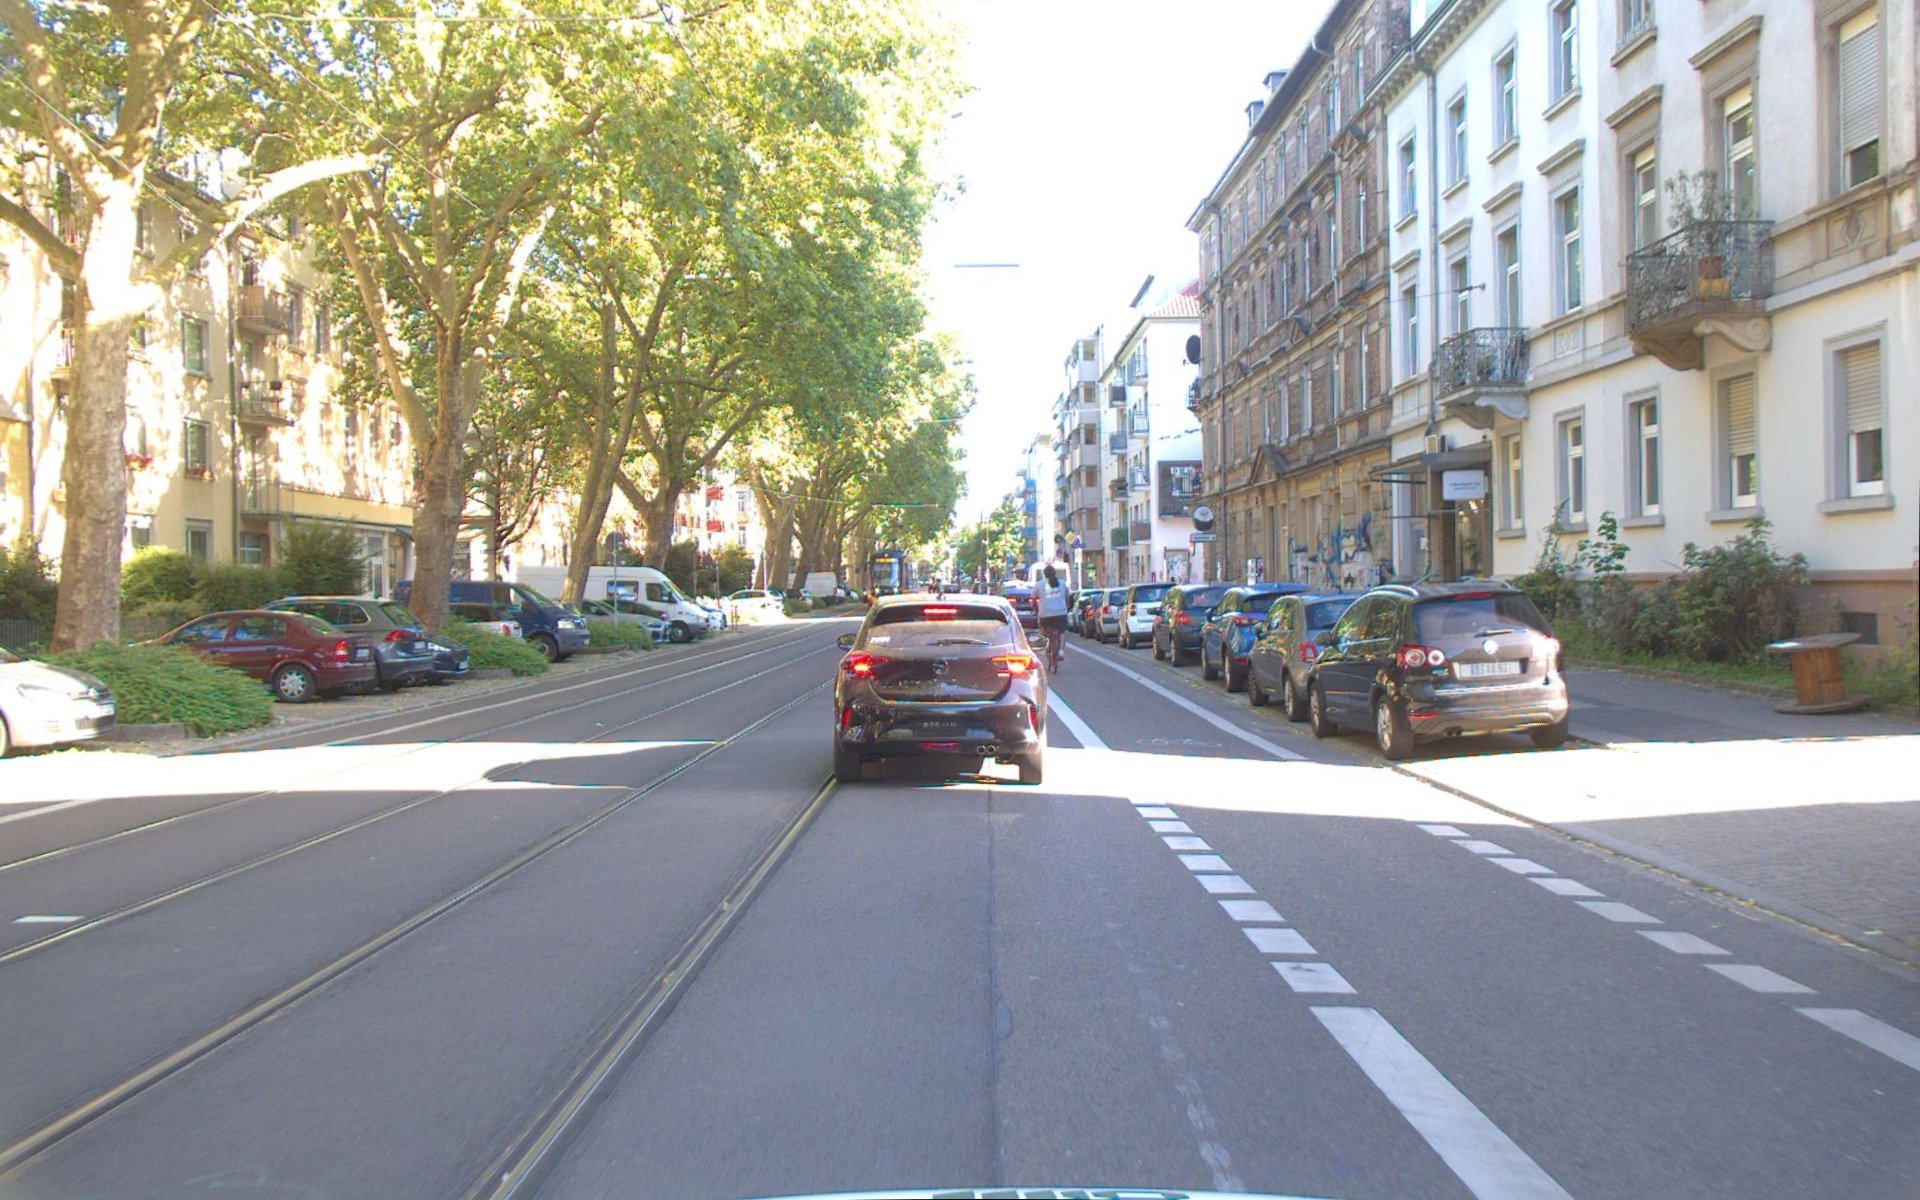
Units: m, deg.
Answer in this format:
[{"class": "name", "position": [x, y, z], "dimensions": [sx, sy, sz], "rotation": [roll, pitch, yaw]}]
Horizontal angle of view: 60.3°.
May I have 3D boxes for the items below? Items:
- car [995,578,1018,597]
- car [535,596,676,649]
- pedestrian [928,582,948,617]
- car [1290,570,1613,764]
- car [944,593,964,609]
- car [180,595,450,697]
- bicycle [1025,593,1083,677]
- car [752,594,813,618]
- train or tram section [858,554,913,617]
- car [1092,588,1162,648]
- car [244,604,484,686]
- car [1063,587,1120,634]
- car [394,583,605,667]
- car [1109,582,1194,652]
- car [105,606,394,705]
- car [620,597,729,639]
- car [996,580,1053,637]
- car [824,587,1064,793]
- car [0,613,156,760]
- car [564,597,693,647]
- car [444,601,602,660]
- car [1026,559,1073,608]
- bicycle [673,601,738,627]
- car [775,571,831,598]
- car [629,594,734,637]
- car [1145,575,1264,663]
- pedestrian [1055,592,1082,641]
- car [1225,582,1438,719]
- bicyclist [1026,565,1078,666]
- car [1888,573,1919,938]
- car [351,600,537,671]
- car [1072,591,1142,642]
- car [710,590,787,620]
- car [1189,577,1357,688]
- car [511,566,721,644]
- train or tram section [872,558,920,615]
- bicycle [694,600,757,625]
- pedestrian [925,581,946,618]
[{"class": "car", "position": [3.752, -1.024, 134.084], "dimensions": [1.773, 1.361, 3.933], "rotation": [-4, 0, 1]}, {"class": "car", "position": [-10.676, 0.662, 49.931], "dimensions": [3.839, 1.524, 1.677], "rotation": [1, 0, 1]}, {"class": "pedestrian", "position": [-0.987, -0.026, 74.351], "dimensions": [0.665, 1.594, 0.768], "rotation": [0, 0, 24]}, {"class": "car", "position": [4.822, 0.601, 16.857], "dimensions": [1.843, 1.613, 3.930], "rotation": [-4, 0, -3]}, {"class": "car", "position": [-0.555, 0.085, 146.489], "dimensions": [1.773, 1.361, 3.932], "rotation": [-1, 0, -1]}, {"class": "car", "position": [-11.114, 0.765, 28.687], "dimensions": [3.913, 1.655, 1.879], "rotation": [1, 0, -1]}, {"class": "bicycle", "position": [1.651, 0.597, 29.461], "dimensions": [0.843, 1.431, 2.523], "rotation": [0, 0, -1]}, {"class": "car", "position": [-11.548, 0.387, 107.695], "dimensions": [3.842, 1.524, 1.676], "rotation": [1, 0, -3]}, {"class": "train or tram section", "position": [-4.684, -0.888, 105.914], "dimensions": [2.678, 3.746, 12.717], "rotation": [-1, 0, 1]}, {"class": "car", "position": [4.597, 0.465, 45.967], "dimensions": [1.669, 1.481, 3.699], "rotation": [-4, 0, 3]}, {"class": "car", "position": [-11.132, 0.830, 31.092], "dimensions": [3.841, 1.446, 1.818], "rotation": [1, 0, -2]}, {"class": "car", "position": [4.503, 0.331, 57.021], "dimensions": [1.628, 1.444, 3.933], "rotation": [-4, 0, 1]}, {"class": "car", "position": [-11.216, 0.594, 40.514], "dimensions": [4.579, 1.957, 1.980], "rotation": [1, 0, 1]}, {"class": "car", "position": [4.695, 0.401, 40.914], "dimensions": [1.536, 1.543, 3.039], "rotation": [-4, 0, -2]}, {"class": "car", "position": [-11.310, 0.868, 26.492], "dimensions": [3.839, 1.467, 1.749], "rotation": [1, 0, 0]}, {"class": "car", "position": [-10.708, 0.659, 62.250], "dimensions": [3.842, 1.524, 1.676], "rotation": [1, 0, -3]}, {"class": "car", "position": [2.105, 0.269, 54.548], "dimensions": [1.772, 1.772, 3.933], "rotation": [-1, 0, 1]}, {"class": "car", "position": [-0.128, 0.647, 13.933], "dimensions": [1.757, 1.466, 3.531], "rotation": [0, 1, -1]}, {"class": "car", "position": [-11.071, 0.918, 17.889], "dimensions": [3.839, 1.488, 1.805], "rotation": [-1, 0, 0]}, {"class": "car", "position": [-10.634, 0.694, 53.239], "dimensions": [3.841, 1.524, 1.676], "rotation": [1, 0, -2]}, {"class": "car", "position": [-11.387, 0.773, 43.219], "dimensions": [3.658, 1.455, 1.637], "rotation": [1, 0, -1]}, {"class": "car", "position": [4.478, -0.828, 83.561], "dimensions": [2.033, 2.257, 4.934], "rotation": [-4, 0, 1]}, {"class": "bicycle", "position": [-11.985, 0.669, 77.973], "dimensions": [2.880, 1.190, 0.991], "rotation": [0, 0, 16]}, {"class": "car", "position": [-11.105, -1.106, 117.035], "dimensions": [3.842, 1.821, 1.676], "rotation": [1, 0, -3]}, {"class": "car", "position": [-10.880, 0.583, 64.737], "dimensions": [3.842, 1.605, 1.676], "rotation": [1, 0, -3]}, {"class": "car", "position": [4.708, 0.341, 32.289], "dimensions": [1.676, 1.509, 3.764], "rotation": [-4, 0, 0]}, {"class": "pedestrian", "position": [3.584, 0.538, 54.632], "dimensions": [0.848, 1.594, 0.768], "rotation": [0, 0, 2]}, {"class": "car", "position": [4.684, 0.589, 21.399], "dimensions": [1.762, 1.481, 3.767], "rotation": [-4, 0, -1]}, {"class": "bicyclist", "position": [1.642, 0.272, 29.560], "dimensions": [0.831, 1.770, 1.161], "rotation": [0, 0, -2]}, {"class": "car", "position": [4.898, 0.654, 5.520], "dimensions": [1.601, 1.573, 3.576], "rotation": [-2, 0, 1]}, {"class": "car", "position": [-11.669, 0.794, 37.586], "dimensions": [3.658, 1.524, 1.746], "rotation": [1, 0, -1]}, {"class": "car", "position": [4.462, 0.466, 50.559], "dimensions": [1.773, 1.361, 3.933], "rotation": [-4, 0, 1]}, {"class": "car", "position": [-11.050, 0.256, 86.651], "dimensions": [3.842, 1.524, 1.676], "rotation": [1, 0, -3]}, {"class": "car", "position": [4.823, 0.467, 26.021], "dimensions": [1.842, 1.481, 4.026], "rotation": [-4, 0, 1]}, {"class": "car", "position": [-11.481, 0.166, 55.613], "dimensions": [6.492, 2.451, 2.458], "rotation": [1, 0, 0]}, {"class": "train or tram section", "position": [-4.484, -0.945, 118.521], "dimensions": [2.678, 3.746, 12.717], "rotation": [-1, 0, 1]}, {"class": "bicycle", "position": [-11.369, 0.586, 80.162], "dimensions": [2.880, 1.190, 0.991], "rotation": [0, 0, 16]}, {"class": "pedestrian", "position": [-1.104, -0.022, 73.535], "dimensions": [0.665, 1.594, 0.768], "rotation": [0, 0, 24]}]
